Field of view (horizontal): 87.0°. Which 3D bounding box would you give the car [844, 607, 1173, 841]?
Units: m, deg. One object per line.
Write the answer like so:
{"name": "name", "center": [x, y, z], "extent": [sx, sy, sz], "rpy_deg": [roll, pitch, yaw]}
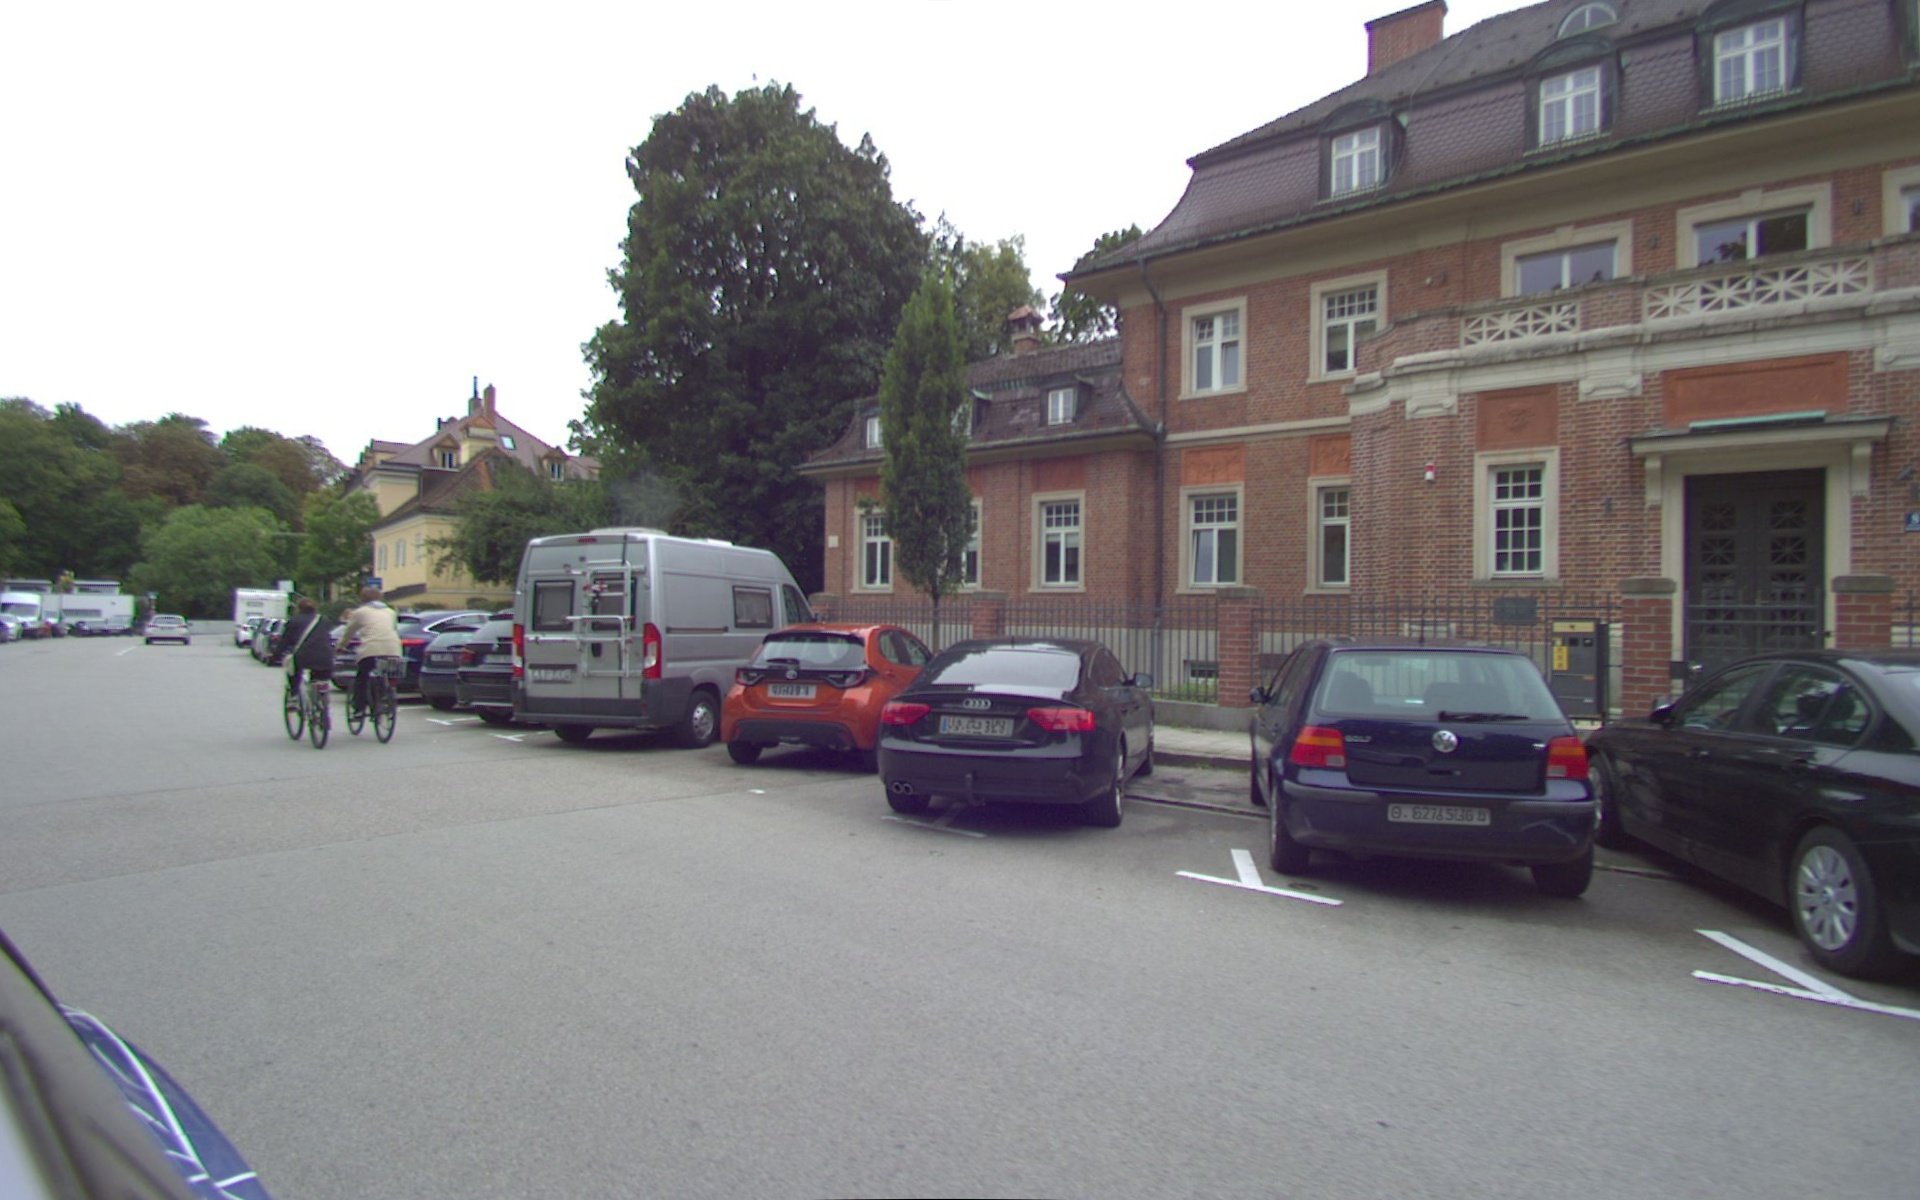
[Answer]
{"name": "car", "center": [0.741, 0.886, 8.884], "extent": [1.959, 1.462, 4.504], "rpy_deg": [1, -2, 15]}

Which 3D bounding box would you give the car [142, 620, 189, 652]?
{"name": "car", "center": [-39.836, 1.772, 50.695], "extent": [1.749, 1.486, 4.141], "rpy_deg": [2, -2, -39]}

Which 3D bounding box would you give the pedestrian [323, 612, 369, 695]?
{"name": "pedestrian", "center": [-12.640, 1.088, 20.843], "extent": [0.583, 1.660, 0.715], "rpy_deg": [4, -3, -44]}

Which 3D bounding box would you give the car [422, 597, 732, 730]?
{"name": "car", "center": [-5.570, 0.910, 15.450], "extent": [1.952, 1.637, 4.498], "rpy_deg": [2, -2, 19]}

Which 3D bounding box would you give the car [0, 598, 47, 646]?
{"name": "car", "center": [-55.600, 1.315, 59.653], "extent": [2.053, 2.707, 6.100], "rpy_deg": [4, -4, -38]}

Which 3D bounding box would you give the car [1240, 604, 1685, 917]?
{"name": "car", "center": [3.091, 0.876, 7.282], "extent": [1.802, 1.462, 4.508], "rpy_deg": [1, -2, 12]}

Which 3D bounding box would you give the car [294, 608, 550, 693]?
{"name": "car", "center": [-11.089, 0.996, 21.128], "extent": [1.932, 1.541, 4.288], "rpy_deg": [1, -1, 39]}

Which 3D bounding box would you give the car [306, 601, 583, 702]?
{"name": "car", "center": [-9.399, 0.947, 18.932], "extent": [1.950, 1.606, 4.498], "rpy_deg": [1, -2, 19]}

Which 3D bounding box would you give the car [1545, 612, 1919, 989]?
{"name": "car", "center": [4.957, 0.864, 5.370], "extent": [1.908, 1.429, 4.508], "rpy_deg": [1, -3, 12]}

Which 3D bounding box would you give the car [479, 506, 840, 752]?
{"name": "car", "center": [-3.577, 0.390, 13.181], "extent": [2.217, 2.583, 4.607], "rpy_deg": [0, -2, 19]}

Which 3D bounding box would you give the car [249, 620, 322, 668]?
{"name": "car", "center": [-23.918, 1.516, 35.799], "extent": [1.821, 1.546, 4.531], "rpy_deg": [5, -4, -37]}

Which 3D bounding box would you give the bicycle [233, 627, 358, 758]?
{"name": "bicycle", "center": [-7.463, 0.971, 11.327], "extent": [2.119, 1.315, 0.698], "rpy_deg": [-1, -2, 44]}

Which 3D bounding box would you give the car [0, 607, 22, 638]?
{"name": "car", "center": [-51.703, 1.203, 54.177], "extent": [1.847, 1.581, 5.009], "rpy_deg": [5, -5, -40]}

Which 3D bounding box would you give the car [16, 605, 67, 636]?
{"name": "car", "center": [-62.447, 1.408, 68.881], "extent": [1.909, 1.919, 5.083], "rpy_deg": [4, -4, -36]}

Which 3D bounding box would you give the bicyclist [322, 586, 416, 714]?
{"name": "bicyclist", "center": [-6.880, 0.565, 11.780], "extent": [0.930, 1.408, 0.689], "rpy_deg": [-1, -2, 44]}

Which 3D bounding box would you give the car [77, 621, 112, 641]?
{"name": "car", "center": [-67.680, 2.428, 79.082], "extent": [1.869, 1.457, 4.272], "rpy_deg": [-1, -1, -43]}

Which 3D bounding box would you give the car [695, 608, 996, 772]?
{"name": "car", "center": [-1.083, 0.904, 12.036], "extent": [1.921, 1.528, 4.501], "rpy_deg": [1, -1, 17]}

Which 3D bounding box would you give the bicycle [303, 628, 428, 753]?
{"name": "bicycle", "center": [-7.024, 1.003, 11.905], "extent": [2.119, 1.315, 0.699], "rpy_deg": [-1, -2, 44]}

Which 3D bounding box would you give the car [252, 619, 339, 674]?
{"name": "car", "center": [-20.964, 1.436, 31.854], "extent": [1.821, 1.546, 4.570], "rpy_deg": [5, -4, -38]}

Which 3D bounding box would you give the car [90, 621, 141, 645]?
{"name": "car", "center": [-62.313, 2.433, 74.749], "extent": [1.965, 1.706, 4.348], "rpy_deg": [1, -3, -28]}

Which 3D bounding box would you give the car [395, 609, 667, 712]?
{"name": "car", "center": [-7.255, 1.014, 17.658], "extent": [1.820, 1.498, 4.392], "rpy_deg": [2, -2, 20]}

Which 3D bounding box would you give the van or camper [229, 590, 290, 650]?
{"name": "van or camper", "center": [-38.272, 1.105, 55.224], "extent": [2.422, 2.963, 7.229], "rpy_deg": [4, -3, -35]}

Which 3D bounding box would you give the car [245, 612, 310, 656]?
{"name": "car", "center": [-26.789, 1.298, 39.691], "extent": [1.821, 1.546, 4.451], "rpy_deg": [5, -3, -37]}

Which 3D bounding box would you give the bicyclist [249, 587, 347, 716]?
{"name": "bicyclist", "center": [-7.356, 0.552, 11.240], "extent": [0.930, 1.362, 0.689], "rpy_deg": [-1, -2, 44]}

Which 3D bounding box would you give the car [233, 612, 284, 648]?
{"name": "car", "center": [-33.715, 1.429, 48.596], "extent": [1.755, 1.546, 4.237], "rpy_deg": [5, -4, -37]}
